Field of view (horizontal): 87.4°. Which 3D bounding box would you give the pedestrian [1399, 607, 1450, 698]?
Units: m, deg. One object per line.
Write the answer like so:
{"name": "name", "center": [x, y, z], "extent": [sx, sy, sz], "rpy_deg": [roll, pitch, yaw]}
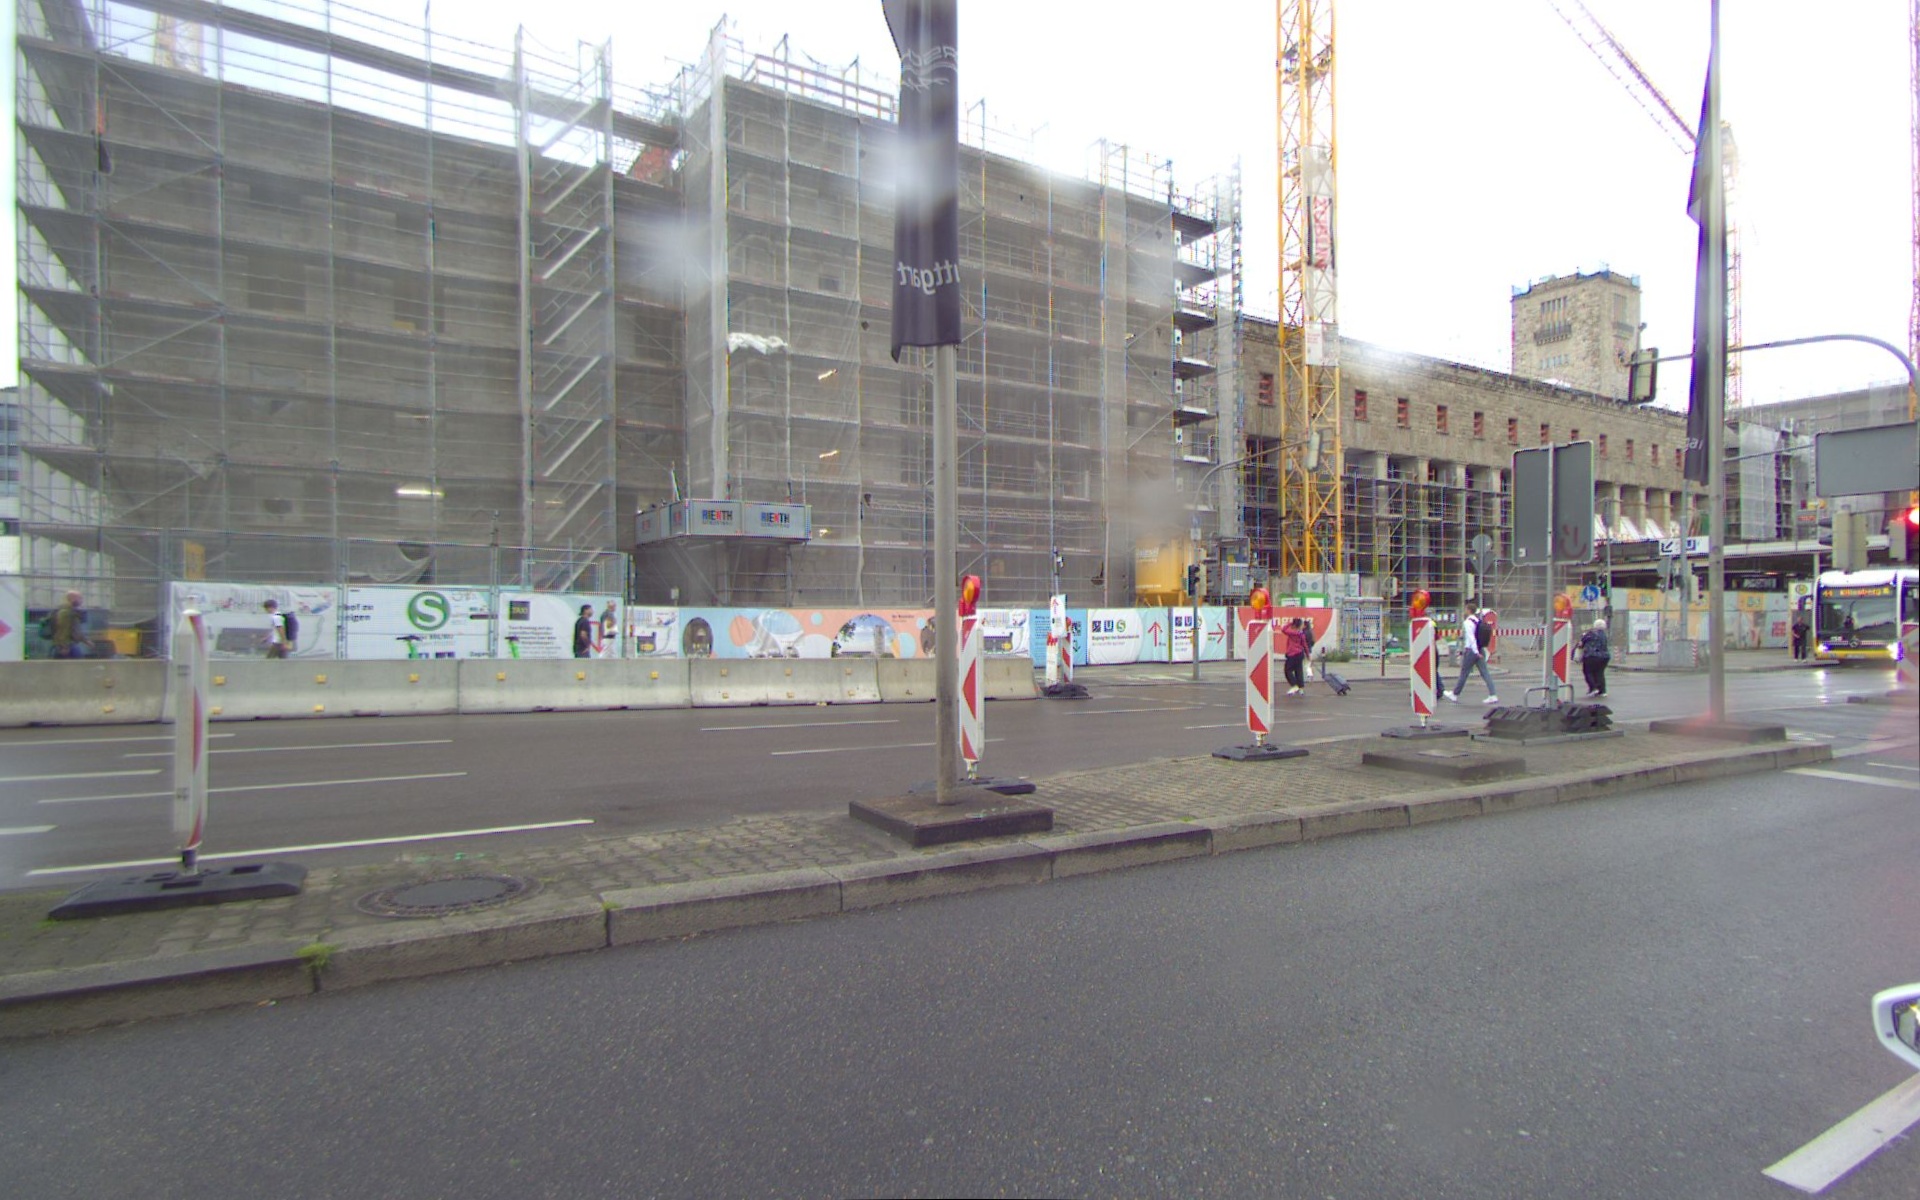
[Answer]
{"name": "pedestrian", "center": [9.726, 1.092, 21.023], "extent": [0.810, 1.860, 0.575], "rpy_deg": [1, 0, -30]}

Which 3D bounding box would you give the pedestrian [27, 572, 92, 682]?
{"name": "pedestrian", "center": [-15.583, 0.464, 17.397], "extent": [0.709, 1.860, 0.478], "rpy_deg": [1, 0, -30]}

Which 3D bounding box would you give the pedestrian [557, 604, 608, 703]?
{"name": "pedestrian", "center": [-7.331, 1.031, 19.519], "extent": [0.810, 1.860, 0.575], "rpy_deg": [1, 0, -30]}

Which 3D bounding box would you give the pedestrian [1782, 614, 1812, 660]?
{"name": "pedestrian", "center": [31.739, 1.410, 38.080], "extent": [0.637, 1.703, 0.656], "rpy_deg": [1, 0, -30]}

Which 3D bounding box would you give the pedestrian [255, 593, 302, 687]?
{"name": "pedestrian", "center": [-13.699, 0.791, 20.200], "extent": [0.709, 1.860, 0.478], "rpy_deg": [1, 0, -30]}

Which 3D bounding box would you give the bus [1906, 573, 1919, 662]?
{"name": "bus", "center": [43.905, 0.847, 42.672], "extent": [10.092, 3.650, 2.655], "rpy_deg": [2, 0, -30]}

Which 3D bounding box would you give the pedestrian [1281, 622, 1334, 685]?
{"name": "pedestrian", "center": [8.973, 1.371, 25.974], "extent": [0.890, 1.584, 0.909], "rpy_deg": [1, 0, -33]}

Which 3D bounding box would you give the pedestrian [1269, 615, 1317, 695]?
{"name": "pedestrian", "center": [7.399, 1.217, 22.326], "extent": [0.613, 1.740, 0.794], "rpy_deg": [1, -2, -33]}

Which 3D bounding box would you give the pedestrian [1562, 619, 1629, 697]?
{"name": "pedestrian", "center": [13.377, 1.217, 21.159], "extent": [0.775, 1.581, 0.872], "rpy_deg": [1, 0, -19]}

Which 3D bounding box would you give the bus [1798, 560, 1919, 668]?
{"name": "bus", "center": [35.131, 0.589, 37.470], "extent": [10.119, 3.650, 2.655], "rpy_deg": [2, 0, -30]}

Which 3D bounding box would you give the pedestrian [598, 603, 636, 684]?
{"name": "pedestrian", "center": [-7.998, 1.012, 23.426], "extent": [0.709, 1.860, 0.478], "rpy_deg": [1, 0, -30]}

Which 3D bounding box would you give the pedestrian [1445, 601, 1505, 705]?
{"name": "pedestrian", "center": [9.826, 0.988, 19.159], "extent": [0.614, 1.915, 0.793], "rpy_deg": [1, 0, -38]}
